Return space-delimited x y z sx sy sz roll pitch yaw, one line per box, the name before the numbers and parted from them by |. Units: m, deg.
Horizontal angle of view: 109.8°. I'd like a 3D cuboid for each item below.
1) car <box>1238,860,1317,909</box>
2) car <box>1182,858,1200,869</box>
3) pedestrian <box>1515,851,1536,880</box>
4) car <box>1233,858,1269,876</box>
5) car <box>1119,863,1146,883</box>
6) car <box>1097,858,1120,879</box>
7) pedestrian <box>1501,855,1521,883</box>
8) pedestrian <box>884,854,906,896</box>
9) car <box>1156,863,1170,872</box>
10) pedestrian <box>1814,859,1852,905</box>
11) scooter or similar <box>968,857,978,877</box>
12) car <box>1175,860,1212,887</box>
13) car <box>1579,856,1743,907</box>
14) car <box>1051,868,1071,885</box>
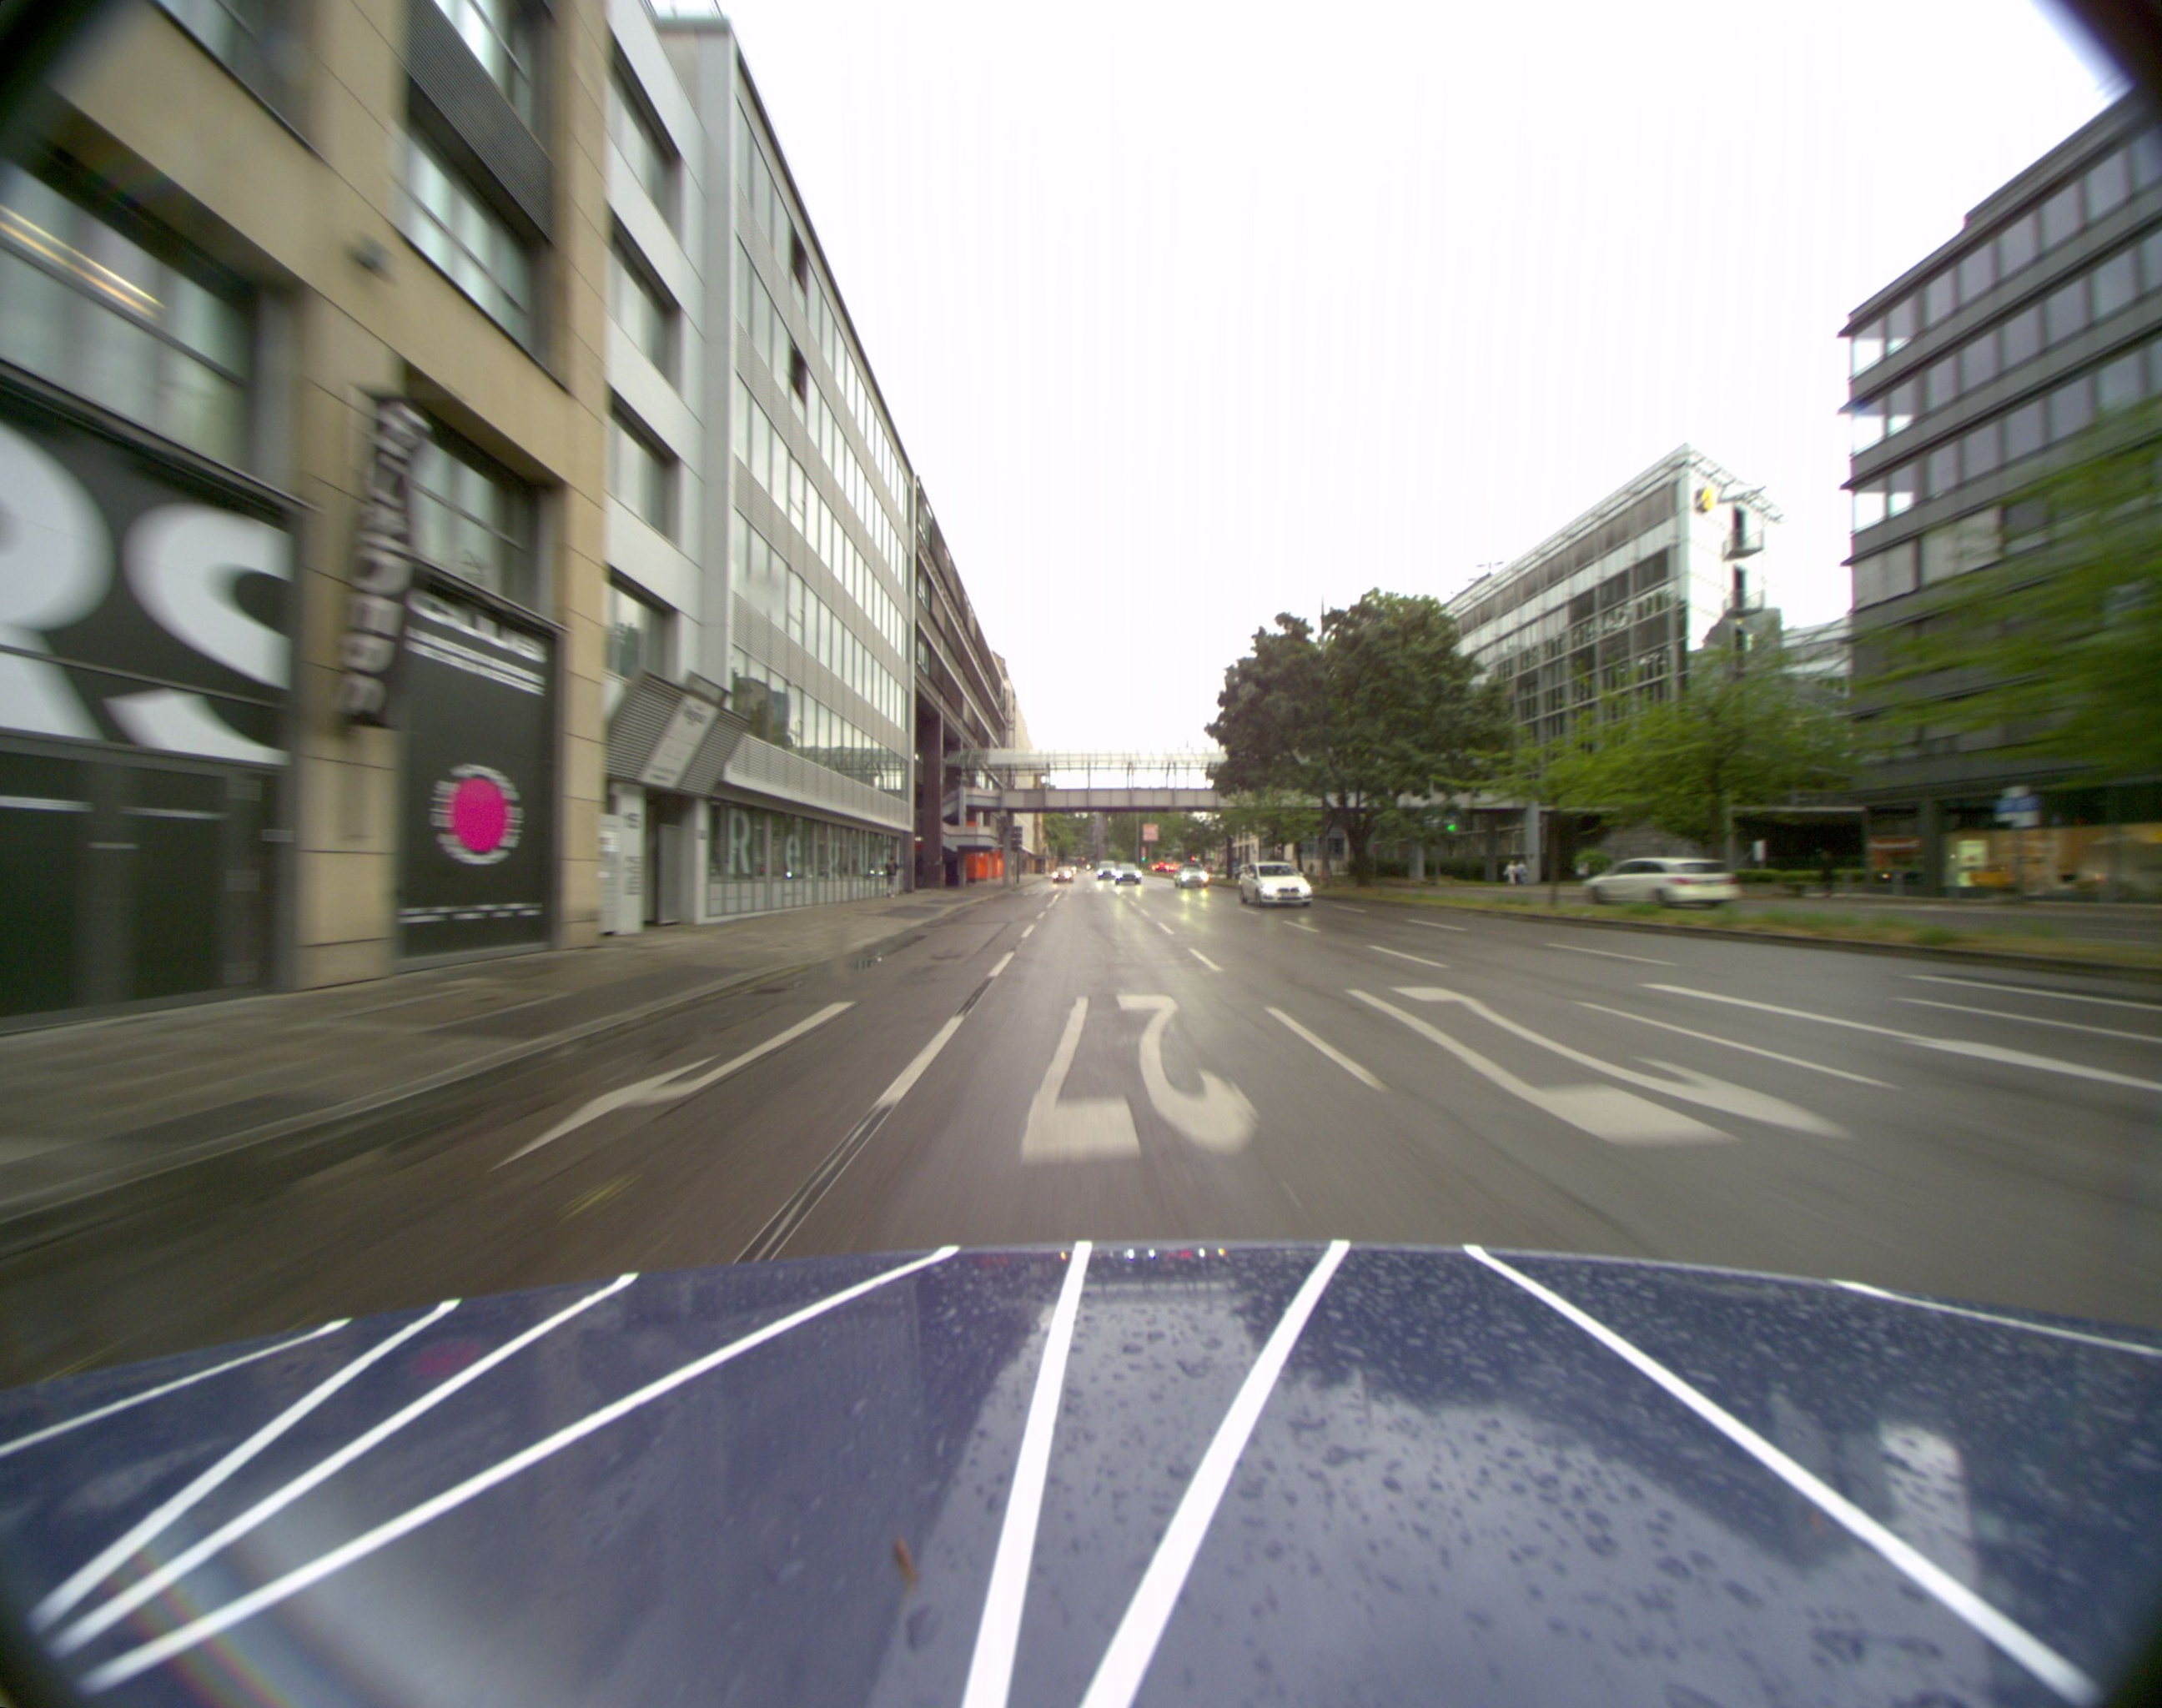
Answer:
car | 6.958 1.037 27.340 1.788 1.564 4.288 -1 0 1
car | 16.163 1.393 111.802 1.672 1.589 3.998 -2 0 -3
pedestrian | 28.742 0.743 49.129 0.729 1.822 0.925 -2 1 0
car | 13.347 1.007 59.985 1.732 1.303 4.076 -1 0 -3
car | 3.939 1.460 59.034 1.941 1.426 4.288 -1 0 2
car | 2.738 1.481 77.379 2.163 2.014 5.041 -1 0 0
pedestrian | 27.840 0.971 49.190 0.729 1.788 0.925 -2 1 0
pedestrian | -8.101 0.909 33.029 0.729 1.822 0.764 -1 0 0
car | 13.579 2.197 125.934 1.732 1.303 4.076 -1 0 -3
pedestrian | 30.324 1.130 30.634 0.730 1.805 0.764 -1 -1 -12
scooter or similar | -7.072 0.834 49.797 0.472 1.266 1.306 -1 0 -16
car | 7.132 1.205 48.420 1.788 1.564 3.691 -1 0 0
car | 17.967 0.803 23.830 1.732 1.425 4.312 -1 0 -2
car | -1.780 2.020 68.831 1.666 1.464 3.483 -1 0 0
